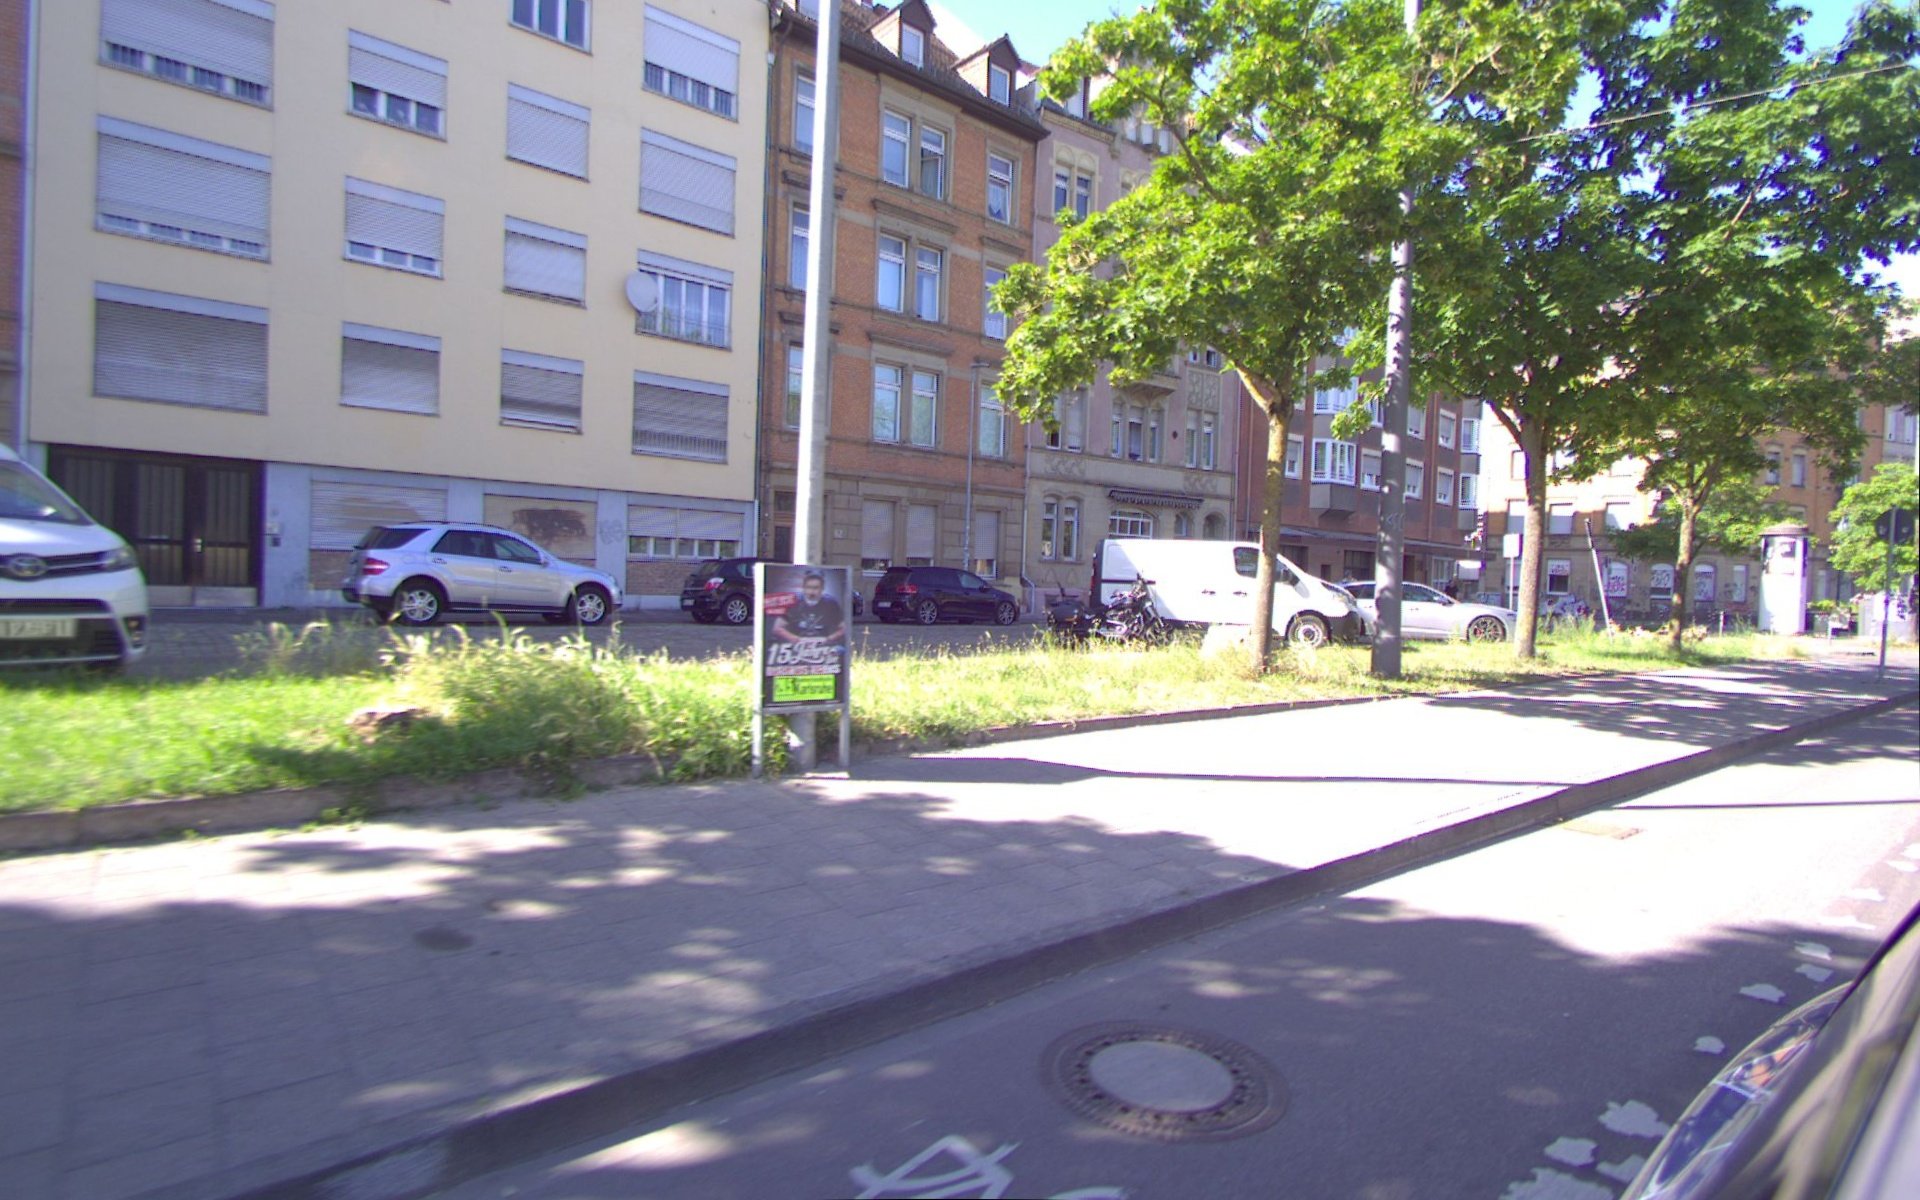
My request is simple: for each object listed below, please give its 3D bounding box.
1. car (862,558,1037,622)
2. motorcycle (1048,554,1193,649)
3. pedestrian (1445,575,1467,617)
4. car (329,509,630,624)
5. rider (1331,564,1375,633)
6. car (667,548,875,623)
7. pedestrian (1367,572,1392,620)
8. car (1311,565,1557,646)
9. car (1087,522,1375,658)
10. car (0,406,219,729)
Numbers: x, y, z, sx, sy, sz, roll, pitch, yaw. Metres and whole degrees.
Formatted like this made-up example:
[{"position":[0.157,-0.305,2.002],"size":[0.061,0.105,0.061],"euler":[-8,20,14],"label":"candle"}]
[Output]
[{"position":[-0.210,-0.230,25.581],"size":[4.215,1.438,1.733],"euler":[1,2,-39],"label":"car"},{"position":[2.657,0.008,16.978],"size":[2.220,1.438,0.854],"euler":[3,2,2],"label":"motorcycle"},{"position":[21.194,-0.176,43.261],"size":[0.630,1.782,0.593],"euler":[1,1,-38],"label":"pedestrian"},{"position":[-8.628,-0.569,18.371],"size":[4.543,1.821,1.999],"euler":[1,3,-40],"label":"car"},{"position":[10.874,-0.055,27.993],"size":[0.954,1.843,1.030],"euler":[3,1,29],"label":"rider"},{"position":[-4.126,-0.298,22.357],"size":[4.089,1.438,1.883],"euler":[1,2,-39],"label":"car"},{"position":[15.805,-0.142,38.135],"size":[0.604,1.780,0.571],"euler":[1,2,-36],"label":"pedestrian"},{"position":[10.714,0.064,23.339],"size":[4.818,1.452,2.009],"euler":[4,2,19],"label":"car"},{"position":[4.965,-0.242,18.870],"size":[4.815,2.100,2.010],"euler":[4,2,17],"label":"car"},{"position":[-8.316,-0.383,7.594],"size":[5.128,2.037,2.086],"euler":[4,3,22],"label":"car"}]
